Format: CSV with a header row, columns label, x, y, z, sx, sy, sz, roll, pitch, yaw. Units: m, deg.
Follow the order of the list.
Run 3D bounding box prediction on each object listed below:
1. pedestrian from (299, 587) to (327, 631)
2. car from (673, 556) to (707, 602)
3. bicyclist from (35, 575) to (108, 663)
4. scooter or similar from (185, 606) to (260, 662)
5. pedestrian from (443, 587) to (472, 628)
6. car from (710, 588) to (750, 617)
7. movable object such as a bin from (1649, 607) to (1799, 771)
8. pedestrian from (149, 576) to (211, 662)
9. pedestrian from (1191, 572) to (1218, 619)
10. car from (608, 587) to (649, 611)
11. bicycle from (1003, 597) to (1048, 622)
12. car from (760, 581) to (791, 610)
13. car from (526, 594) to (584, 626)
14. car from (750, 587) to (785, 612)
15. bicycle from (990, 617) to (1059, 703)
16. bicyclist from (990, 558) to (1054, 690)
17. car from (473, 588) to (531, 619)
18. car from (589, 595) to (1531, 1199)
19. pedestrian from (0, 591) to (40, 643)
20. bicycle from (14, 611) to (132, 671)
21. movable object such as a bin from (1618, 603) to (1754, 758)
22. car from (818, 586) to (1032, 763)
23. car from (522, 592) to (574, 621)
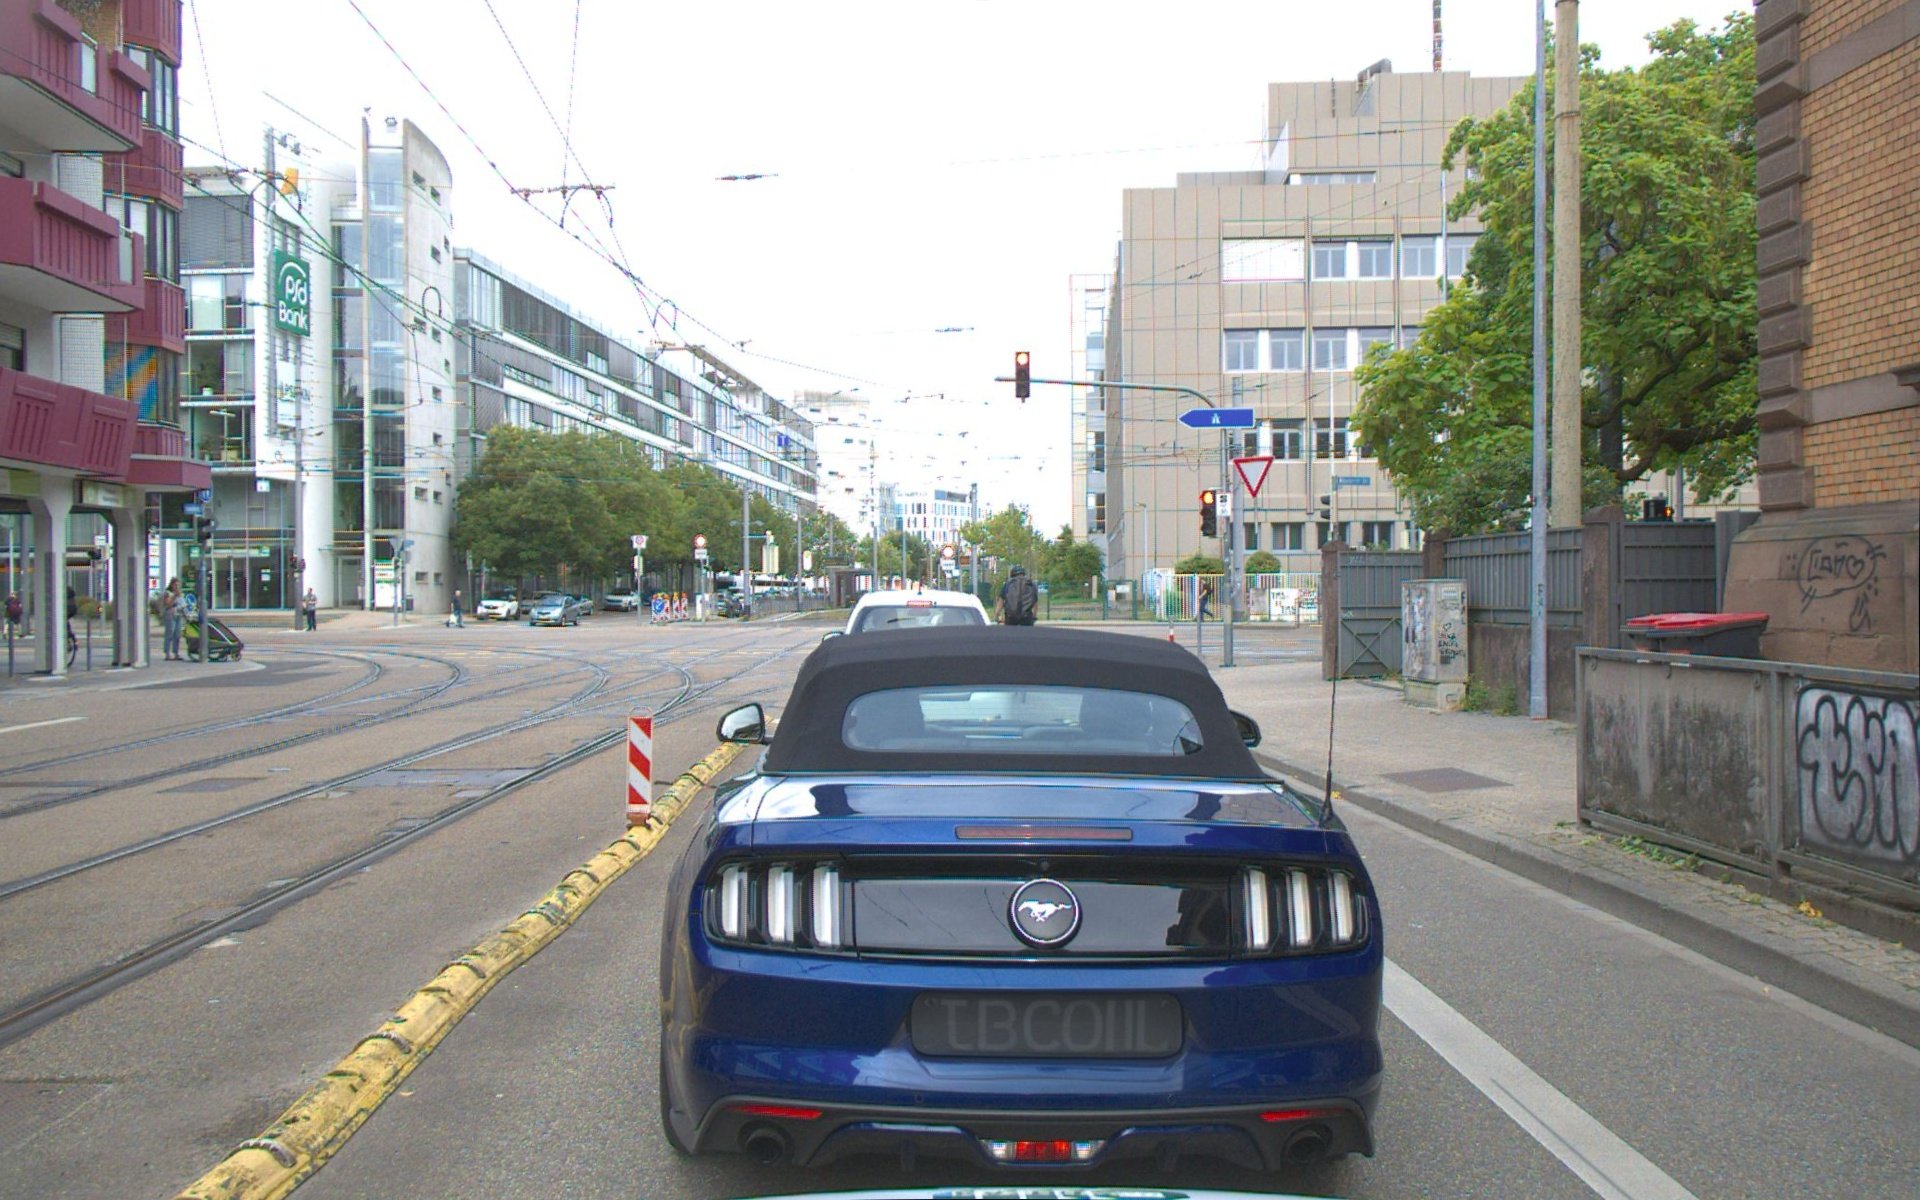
label,x,y,z,sx,sy,sz,roll,pitch,yaw
pedestrian,-28.118,0.380,71.904,0.816,1.897,0.766,-1,0,11
car,-22.018,-1.718,135.021,1.945,3.700,4.513,1,0,0
bicyclist,-17.177,0.363,31.979,1.031,1.680,0.752,-1,0,24
scooter or similar,-15.570,0.712,34.952,1.172,1.148,0.946,0,0,-3
pedestrian,-23.357,0.333,76.862,0.968,1.888,0.902,-1,0,6
car,-13.464,0.131,97.038,1.841,1.657,4.086,-1,0,-1
movable object such as a bin,5.492,0.622,11.922,0.650,1.101,0.700,-4,0,-6
pedestrian,-16.437,0.397,34.865,0.929,1.774,0.811,0,0,-4
pedestrian,10.168,-0.204,68.794,1.063,1.931,0.902,-1,0,4
car,-23.224,-0.056,115.986,1.945,1.584,4.513,1,1,0
bicycle,2.885,0.424,72.752,0.629,0.998,2.125,-1,-2,-42
car,-12.904,-0.319,115.749,1.749,2.022,4.120,-1,0,-1
car,-20.211,0.475,82.727,1.633,1.533,4.236,1,1,3
car,-12.844,-0.049,110.582,1.830,1.634,4.212,-1,0,-1
bicycle,0.882,0.821,23.286,0.784,1.105,2.130,-1,0,-3
bicyclist,0.868,0.326,23.456,0.780,1.816,1.232,-1,0,-3
car,-25.026,0.182,90.537,1.791,1.584,4.218,1,1,3
car,0.182,0.724,5.393,1.838,1.428,4.282,1,0,-1
pedestrian,-31.410,0.565,55.219,0.915,1.700,0.766,-1,0,11
bicycle,-17.145,0.785,31.965,2.306,1.105,0.764,0,0,24
movable object such as a bin,5.538,0.599,12.639,0.638,1.101,0.677,-4,0,-6
car,-0.467,0.616,16.090,1.799,1.464,4.183,-1,0,-5
car,-24.316,0.365,97.773,1.791,1.584,4.218,1,1,3
